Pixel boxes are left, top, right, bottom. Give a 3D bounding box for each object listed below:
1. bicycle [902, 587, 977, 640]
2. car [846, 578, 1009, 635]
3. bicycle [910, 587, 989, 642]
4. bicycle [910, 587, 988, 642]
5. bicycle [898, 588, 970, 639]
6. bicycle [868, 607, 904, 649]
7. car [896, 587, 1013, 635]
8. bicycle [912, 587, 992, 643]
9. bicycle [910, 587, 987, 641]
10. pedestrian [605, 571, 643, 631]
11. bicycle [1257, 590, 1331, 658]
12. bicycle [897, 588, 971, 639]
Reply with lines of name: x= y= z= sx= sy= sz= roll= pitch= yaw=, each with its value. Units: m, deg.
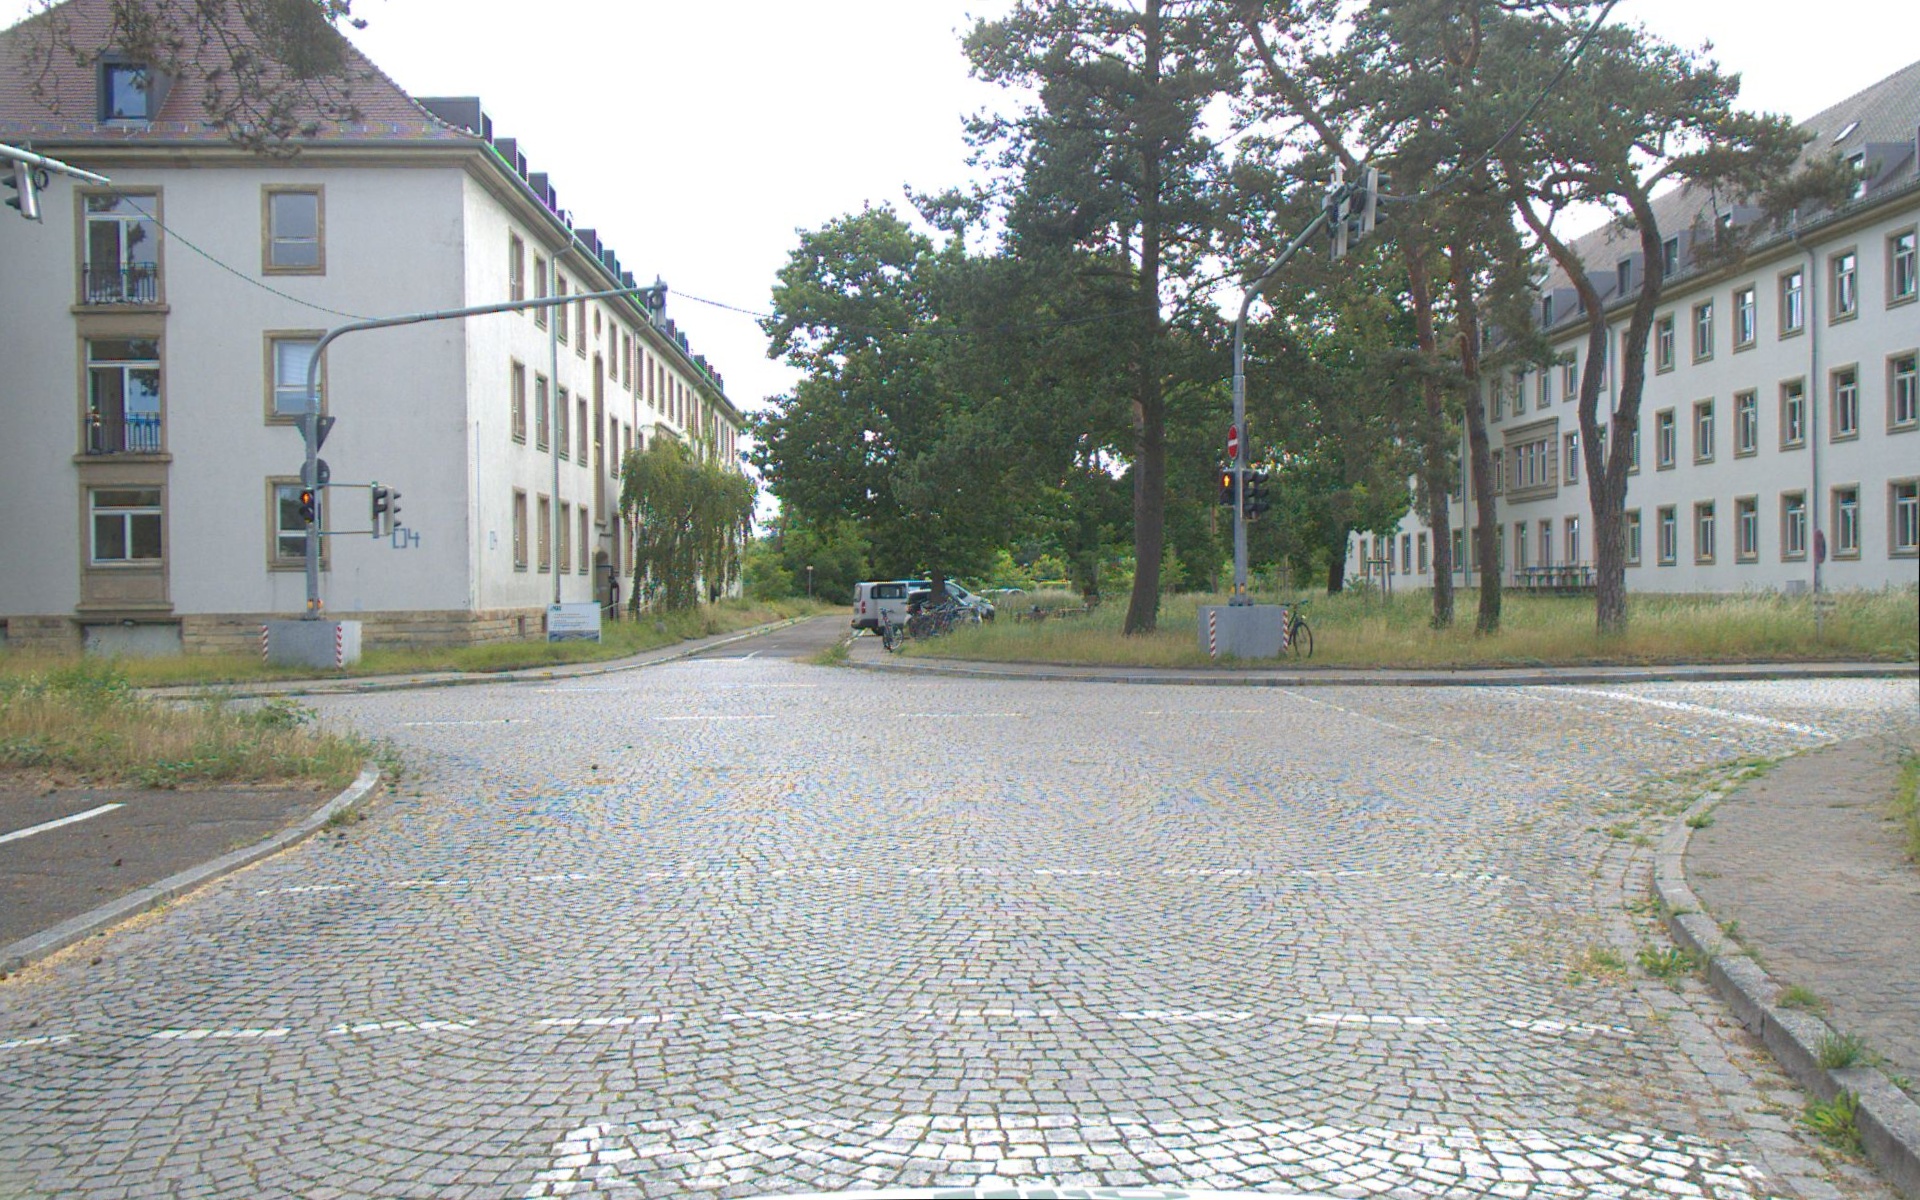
bicycle: x=-0.555 y=0.371 z=45.353 sx=2.028 sy=1.402 sz=0.620 roll=-1 pitch=0 yaw=-1
car: x=-1.195 y=0.213 z=60.336 sx=5.596 sy=1.944 sz=2.222 roll=-1 pitch=0 yaw=-14
bicycle: x=-0.271 y=0.372 z=43.141 sx=2.028 sy=1.402 sz=0.620 roll=-1 pitch=0 yaw=-1
bicycle: x=-0.293 y=0.373 z=43.765 sx=2.028 sy=1.402 sz=0.620 roll=-1 pitch=0 yaw=-1
bicycle: x=-0.734 y=0.372 z=46.833 sx=2.028 sy=1.402 sz=0.620 roll=-1 pitch=0 yaw=-1
bicycle: x=-1.813 y=0.682 z=40.626 sx=0.605 sy=0.980 sz=2.078 roll=-1 pitch=0 yaw=5
car: x=-0.217 y=0.368 z=56.995 sx=3.857 sy=1.571 sz=1.997 roll=-1 pitch=0 yaw=-7
bicycle: x=-0.208 y=0.372 z=42.472 sx=2.028 sy=1.402 sz=0.620 roll=-1 pitch=0 yaw=-1
bicycle: x=-0.309 y=0.375 z=44.562 sx=2.028 sy=1.402 sz=0.620 roll=-1 pitch=0 yaw=-1
pedestrian: x=-11.695 y=0.037 z=57.620 sx=1.064 sy=2.049 sz=1.022 roll=-1 pitch=0 yaw=3
bicycle: x=6.116 y=0.416 z=30.394 sx=0.890 sy=1.197 sz=1.873 roll=-1 pitch=0 yaw=-3
bicycle: x=-0.725 y=0.370 z=46.086 sx=2.028 sy=1.402 sz=0.620 roll=-1 pitch=0 yaw=-1
